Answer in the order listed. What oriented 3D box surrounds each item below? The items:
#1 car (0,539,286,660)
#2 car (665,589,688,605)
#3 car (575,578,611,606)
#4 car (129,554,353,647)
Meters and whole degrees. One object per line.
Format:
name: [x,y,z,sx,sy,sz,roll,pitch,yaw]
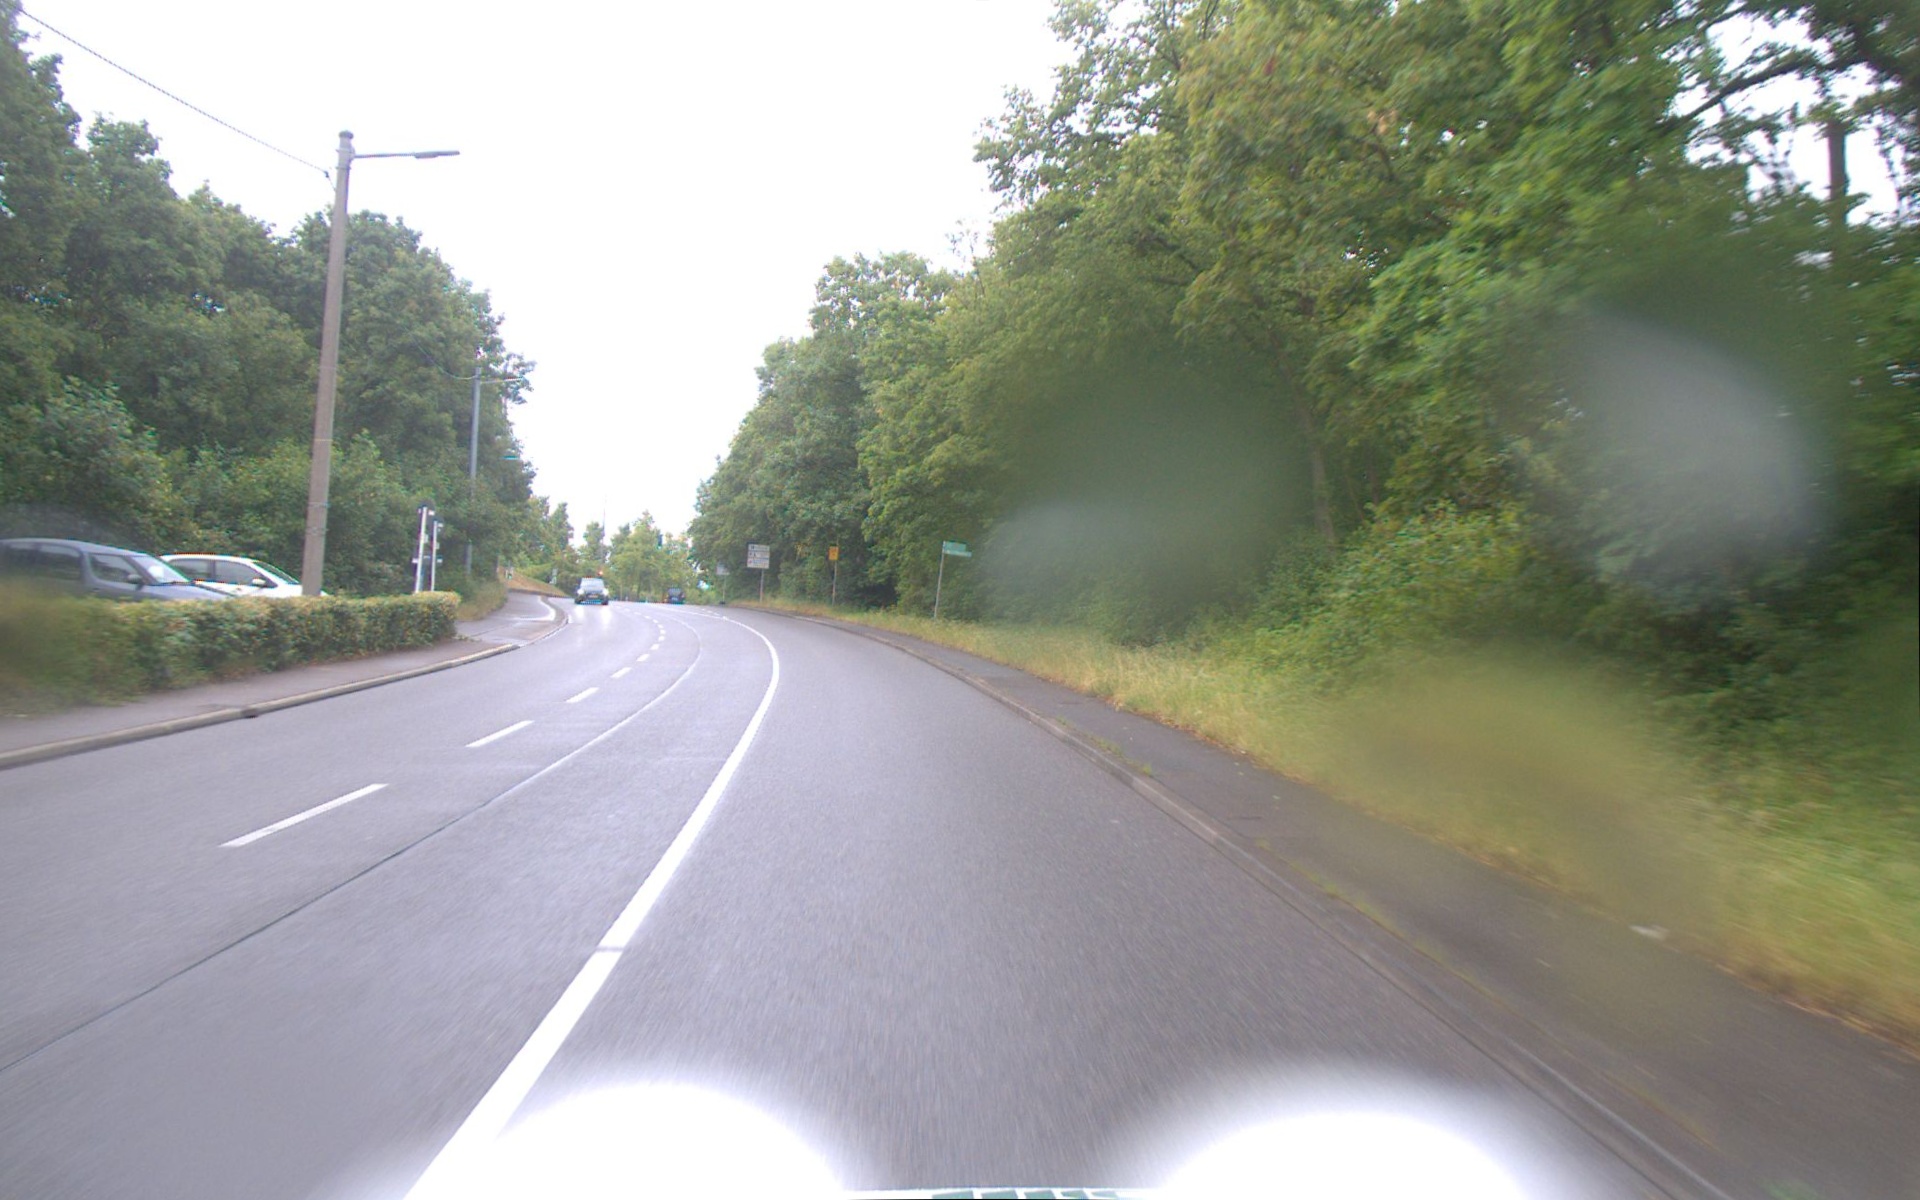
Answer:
car: [-13.380,-0.020,26.583,4.205,1.738,1.999,2,0,-2]
car: [-27.973,-0.289,163.219,1.897,1.524,4.313,2,0,-5]
car: [-20.931,-0.466,94.331,1.901,1.524,4.305,2,0,-12]
car: [-13.922,0.009,32.208,3.577,1.619,1.848,2,0,-9]
